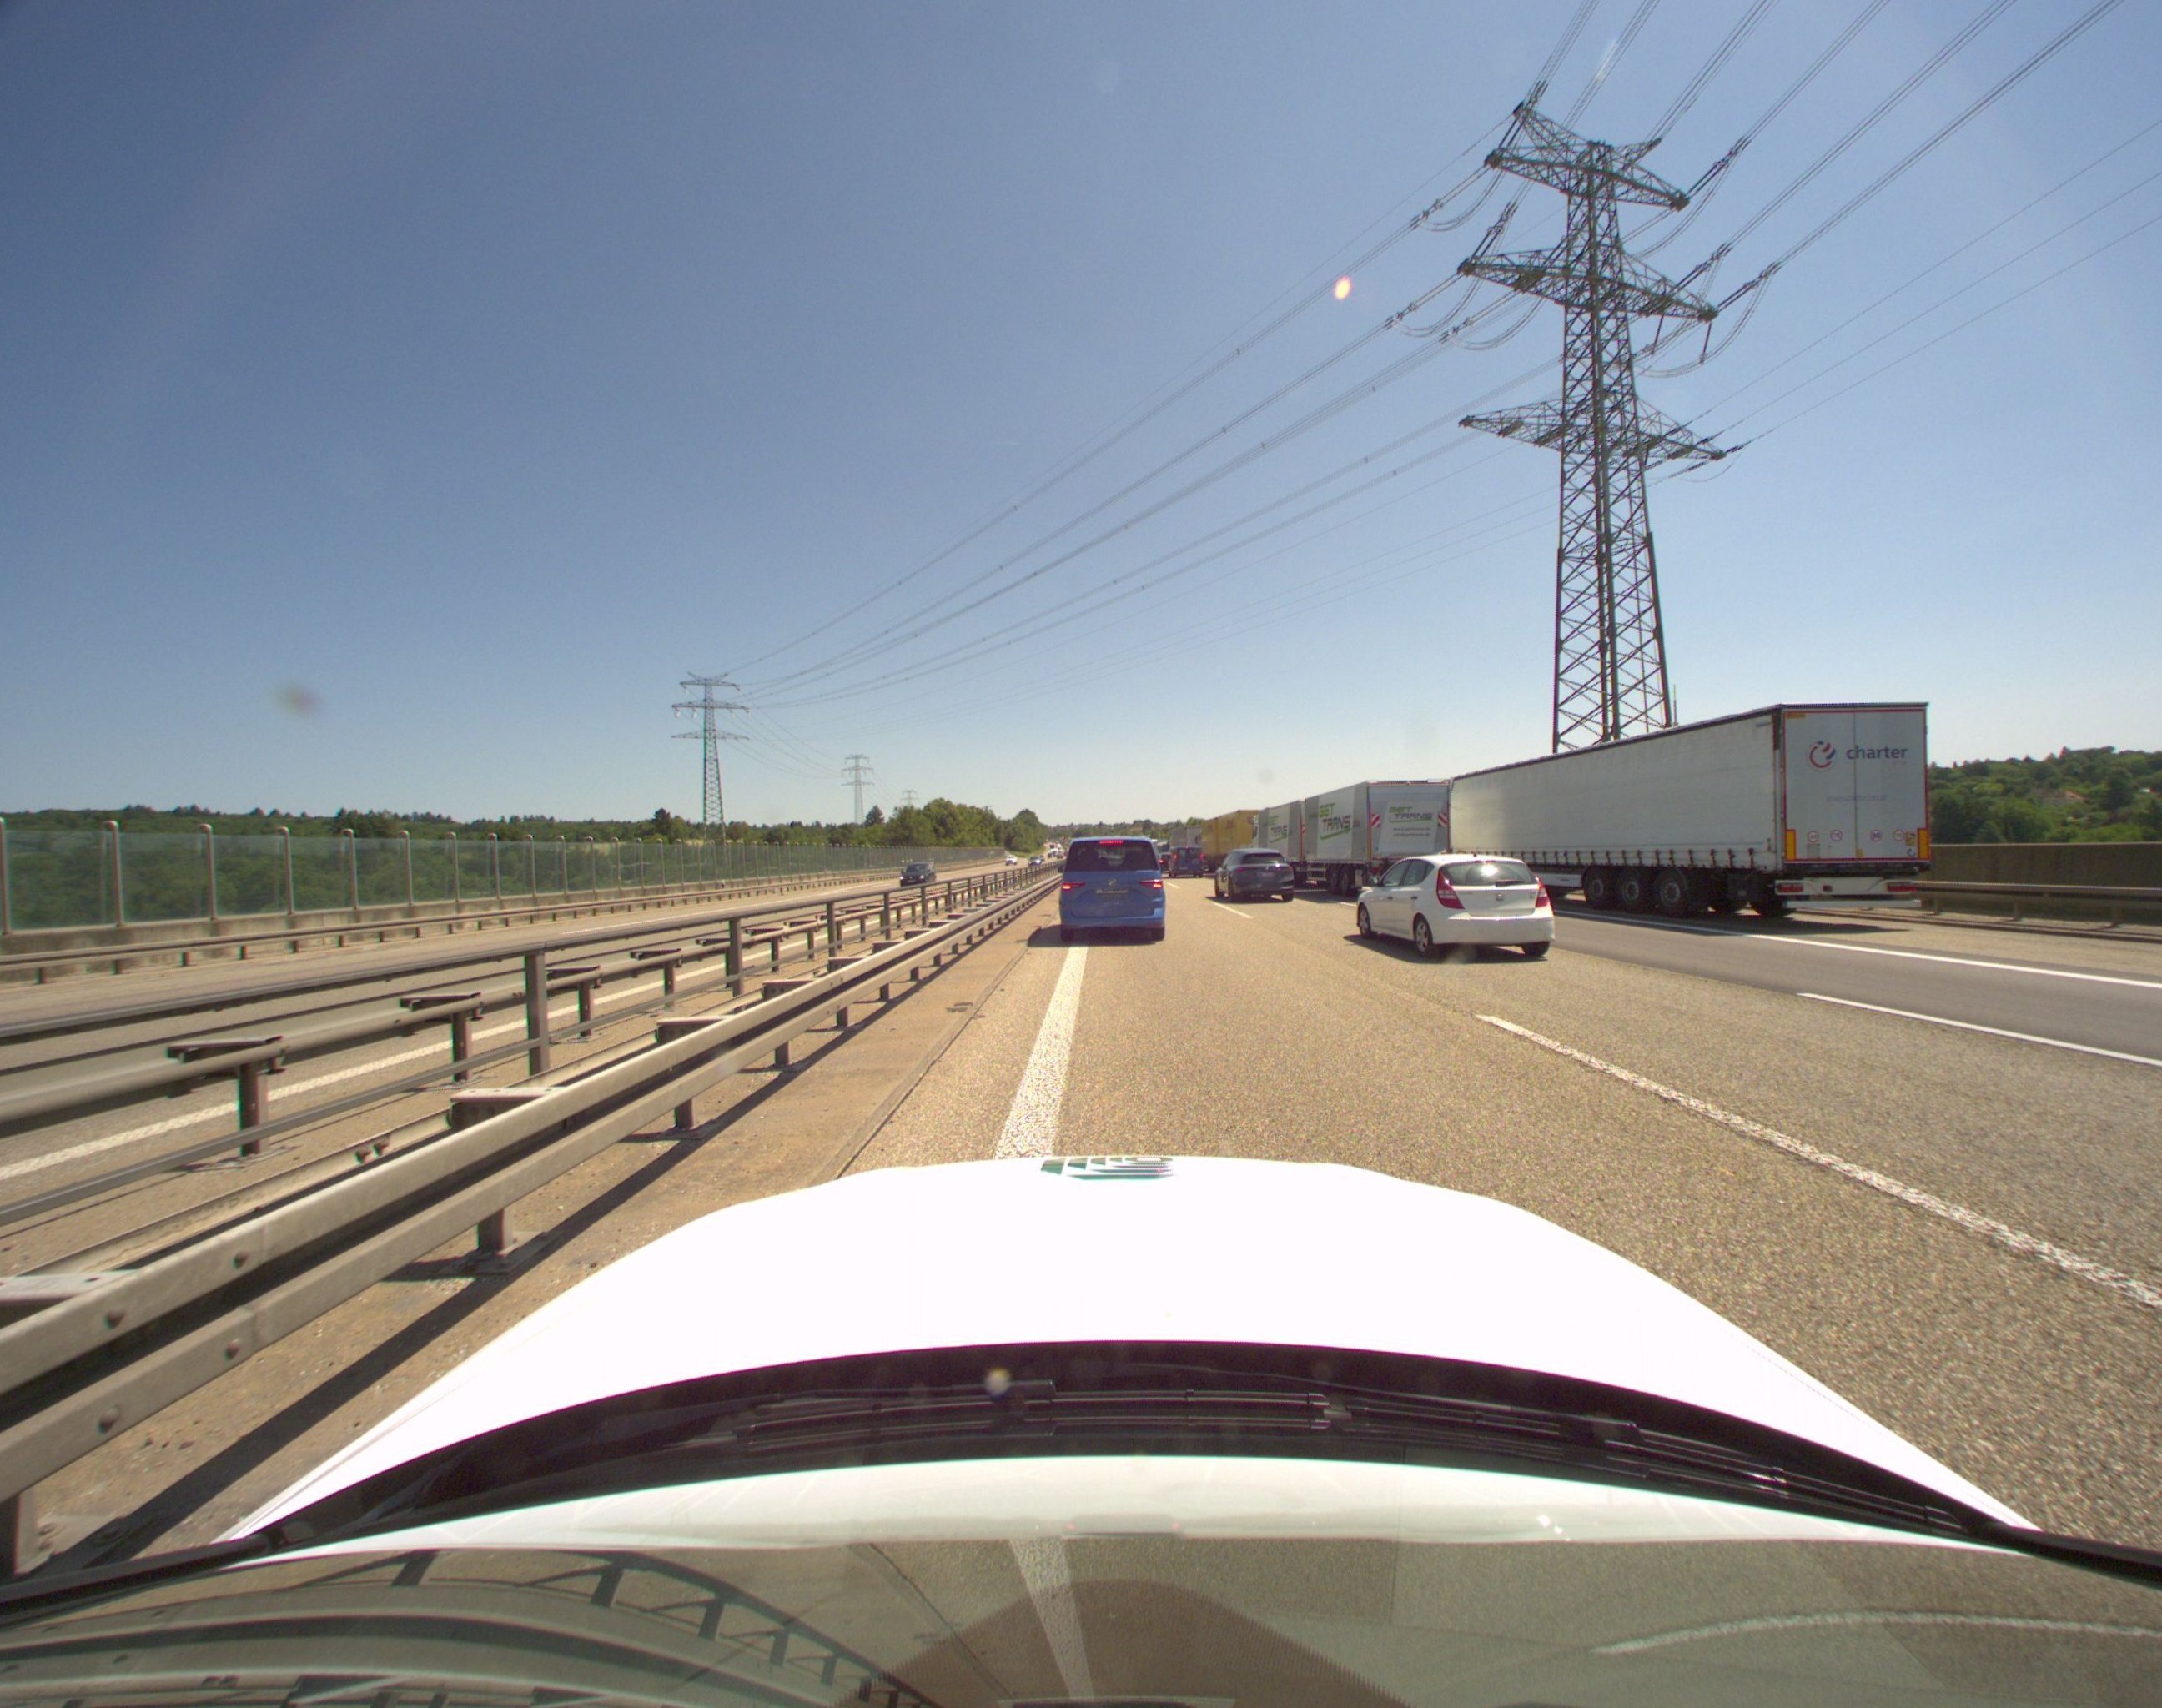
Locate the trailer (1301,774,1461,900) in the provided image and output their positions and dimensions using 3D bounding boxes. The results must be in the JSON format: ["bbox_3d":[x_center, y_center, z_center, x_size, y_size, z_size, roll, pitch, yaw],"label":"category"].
[{"bbox_3d":[10.050,-0.522,28.382,2.688,3.700,8.016,-1,0,1],"label":"trailer"}]

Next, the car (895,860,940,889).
[{"bbox_3d":[-10.662,1.302,53.479,1.987,1.672,4.186,-4,0,0],"label":"car"}]

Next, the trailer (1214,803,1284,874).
[{"bbox_3d":[10.783,-0.900,53.245,2.854,4.239,9.014,0,0,1],"label":"trailer"}]

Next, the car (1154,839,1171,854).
[{"bbox_3d":[11.811,-1.067,118.095,1.986,2.013,4.462,-2,0,1],"label":"car"}]

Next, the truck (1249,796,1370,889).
[{"bbox_3d":[10.239,-0.468,37.885,2.647,3.648,11.012,-1,0,1],"label":"truck"}]

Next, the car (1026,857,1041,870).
[{"bbox_3d":[-6.751,1.326,116.502,1.799,1.627,4.478,-3,0,1],"label":"car"}]

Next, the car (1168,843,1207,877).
[{"bbox_3d":[6.663,0.381,51.434,1.955,1.993,4.294,-1,0,1],"label":"car"}]

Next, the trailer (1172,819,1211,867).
[{"bbox_3d":[11.012,-1.027,82.238,2.627,4.516,11.304,0,0,1],"label":"trailer"}]

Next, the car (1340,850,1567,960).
[{"bbox_3d":[5.752,0.695,13.221,1.782,1.455,4.294,-1,0,1],"label":"car"}]

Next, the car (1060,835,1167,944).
[{"bbox_3d":[0.617,0.615,15.976,1.813,1.857,4.076,0,0,1],"label":"car"}]

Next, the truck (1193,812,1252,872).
[{"bbox_3d":[10.802,-0.817,63.235,2.826,4.243,11.012,-1,0,1],"label":"truck"}]

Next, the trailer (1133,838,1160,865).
[{"bbox_3d":[7.458,-0.225,94.069,2.560,2.990,10.666,-1,0,2],"label":"trailer"}]

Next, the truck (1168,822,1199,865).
[{"bbox_3d":[11.171,-1.065,89.331,2.657,4.484,6.852,0,0,2],"label":"truck"}]

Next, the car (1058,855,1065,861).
[{"bbox_3d":[-4.833,1.032,200.358,1.592,1.317,4.342,-3,0,1],"label":"car"}]

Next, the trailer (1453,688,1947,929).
[{"bbox_3d":[13.815,-0.780,20.854,2.705,4.141,13.428,-1,0,1],"label":"trailer"}]

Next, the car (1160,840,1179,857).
[{"bbox_3d":[10.867,-0.634,100.271,1.986,2.014,4.001,-1,0,1],"label":"car"}]

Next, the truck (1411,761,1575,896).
[{"bbox_3d":[14.003,-0.768,28.297,2.683,4.142,6.160,0,0,1],"label":"truck"}]

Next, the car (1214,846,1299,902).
[{"bbox_3d":[5.689,0.613,26.918,1.955,1.644,4.294,-1,0,1],"label":"car"}]

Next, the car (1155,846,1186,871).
[{"bbox_3d":[6.766,0.349,61.858,1.986,1.816,4.001,-1,0,1],"label":"car"}]

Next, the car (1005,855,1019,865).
[{"bbox_3d":[-13.040,1.114,153.815,1.987,1.885,5.257,-2,0,1],"label":"car"}]
